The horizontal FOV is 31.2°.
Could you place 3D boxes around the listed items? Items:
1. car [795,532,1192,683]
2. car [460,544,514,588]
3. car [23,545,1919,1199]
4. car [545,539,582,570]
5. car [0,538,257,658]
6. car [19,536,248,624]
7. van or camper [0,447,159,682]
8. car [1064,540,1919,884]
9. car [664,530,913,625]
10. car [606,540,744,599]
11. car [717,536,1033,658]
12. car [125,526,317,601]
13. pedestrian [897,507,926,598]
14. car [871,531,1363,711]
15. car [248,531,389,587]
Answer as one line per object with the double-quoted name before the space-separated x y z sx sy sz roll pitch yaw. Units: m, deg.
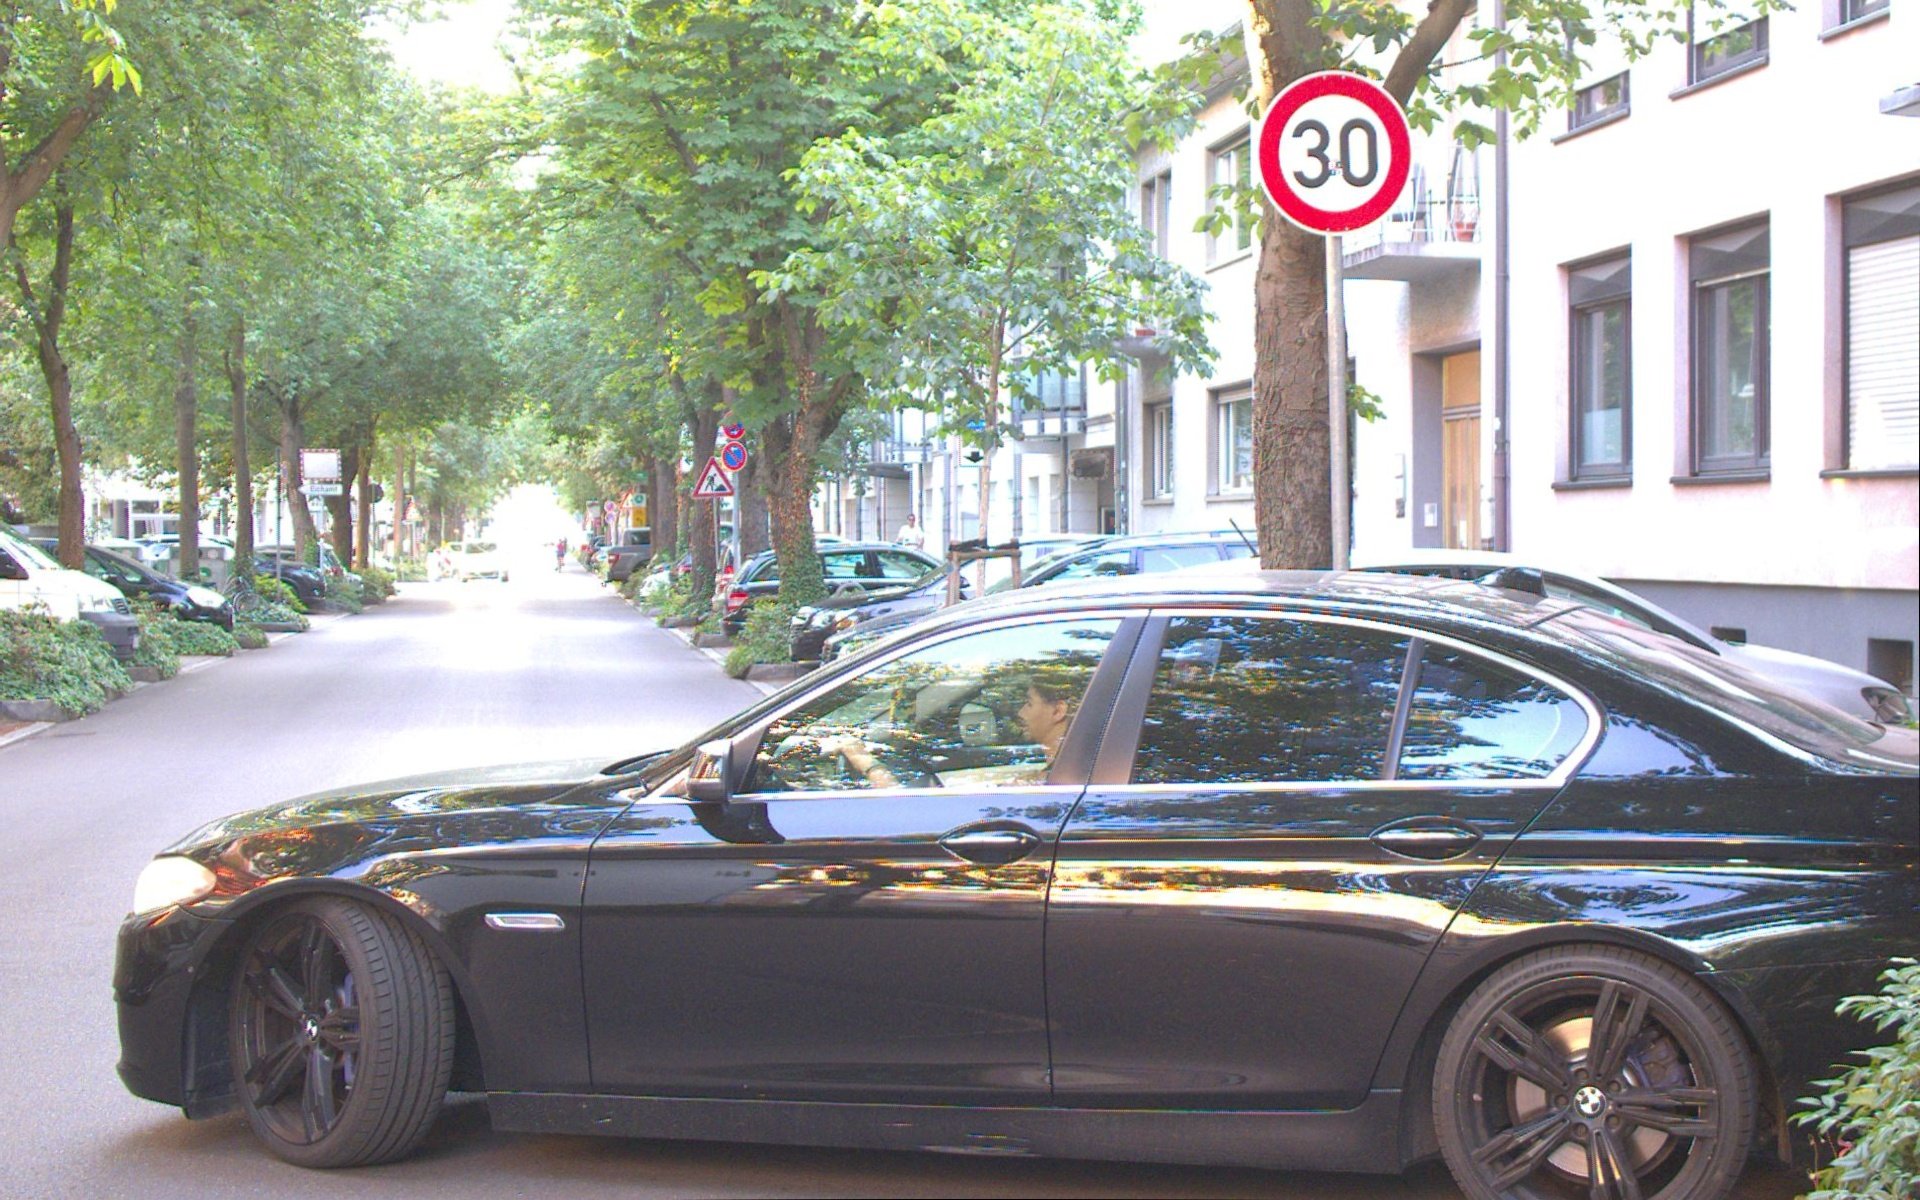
"car" 0.314 0.055 36.148 3.967 1.522 1.785 -1 1 -7
"car" -17.175 -1.255 124.968 1.779 1.557 4.169 0 1 -6
"car" 0.311 0.615 8.361 4.749 1.475 1.799 0 1 16
"car" -20.097 -2.333 174.388 1.822 1.525 4.001 -1 1 -6
"car" -11.932 -0.045 48.041 3.967 1.614 1.785 0 1 -6
"car" -15.472 -0.389 64.505 3.967 1.614 1.785 0 1 -5
"van or camper" -11.135 -0.389 37.042 4.662 2.470 2.000 0 1 -7
"car" 2.562 0.470 16.074 3.908 1.471 1.665 -1 1 -8
"car" -2.855 -0.389 56.822 3.967 1.522 1.785 -1 1 -8
"car" -8.362 -0.895 100.773 3.967 1.678 1.785 0 1 -5
"car" -1.139 -0.057 44.958 3.967 1.522 1.785 -1 1 -7
"car" -16.347 -0.823 76.156 3.967 1.614 1.785 0 1 -5
"pedestrian" -1.082 -1.066 76.342 0.589 2.007 0.669 0 1 -5
"car" 1.314 0.154 29.687 3.967 1.471 1.785 -1 1 -8
"car" -19.146 -1.237 102.707 3.967 1.614 1.785 0 1 -5
